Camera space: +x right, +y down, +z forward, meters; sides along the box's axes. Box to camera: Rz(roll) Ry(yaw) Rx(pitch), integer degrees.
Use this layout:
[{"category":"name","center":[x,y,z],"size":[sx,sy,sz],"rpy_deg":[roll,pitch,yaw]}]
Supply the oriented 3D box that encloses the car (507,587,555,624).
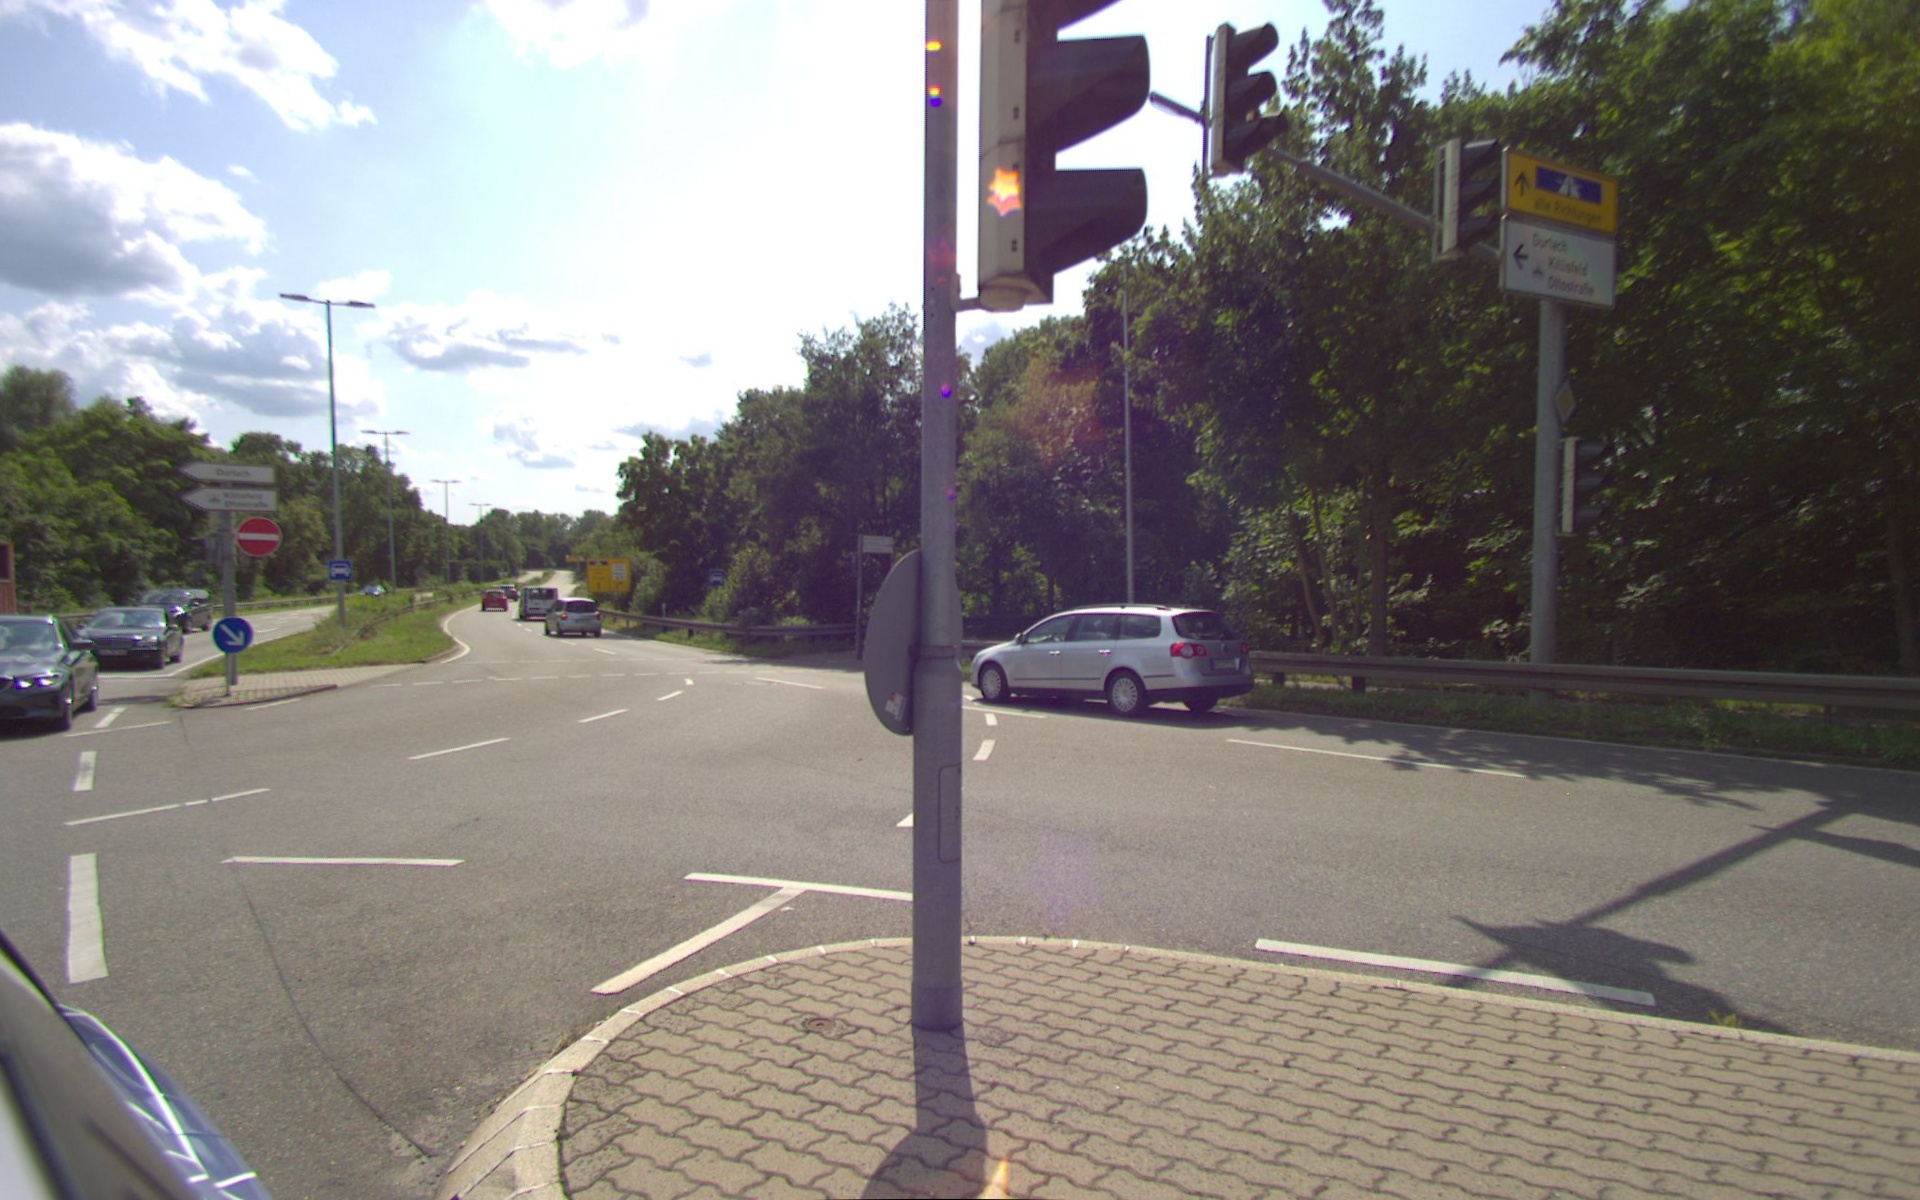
[{"category":"car","center":[-25.059,0.335,58.996],"size":[1.966,2.029,5.151],"rpy_deg":[2,-1,-29]}]

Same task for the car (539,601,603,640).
[{"category":"car","center":[-16.084,0.817,41.729],"size":[1.709,1.532,4.080],"rpy_deg":[1,-1,-32]}]

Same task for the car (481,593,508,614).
[{"category":"car","center":[-33.343,0.262,72.589],"size":[1.559,1.443,4.013],"rpy_deg":[1,-1,-22]}]

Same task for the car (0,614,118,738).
[{"category":"car","center":[-12.526,0.899,13.153],"size":[1.828,1.373,4.012],"rpy_deg":[1,-1,-31]}]

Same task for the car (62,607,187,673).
[{"category":"car","center":[-19.976,0.886,24.360],"size":[1.828,1.421,4.011],"rpy_deg":[-1,0,-33]}]

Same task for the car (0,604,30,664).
[{"category":"car","center":[-23.123,0.805,22.836],"size":[1.827,1.421,4.013],"rpy_deg":[-1,0,-21]}]

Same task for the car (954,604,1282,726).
[{"category":"car","center":[2.107,0.826,14.718],"size":[1.662,1.489,4.719],"rpy_deg":[2,-2,-42]}]

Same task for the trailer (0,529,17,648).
[{"category":"trailer","center":[-30.601,-0.340,27.713],"size":[2.732,3.879,12.362],"rpy_deg":[-1,0,-22]}]

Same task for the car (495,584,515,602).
[{"category":"car","center":[-43.770,-0.652,97.378],"size":[1.686,1.598,4.296],"rpy_deg":[2,-1,-24]}]
